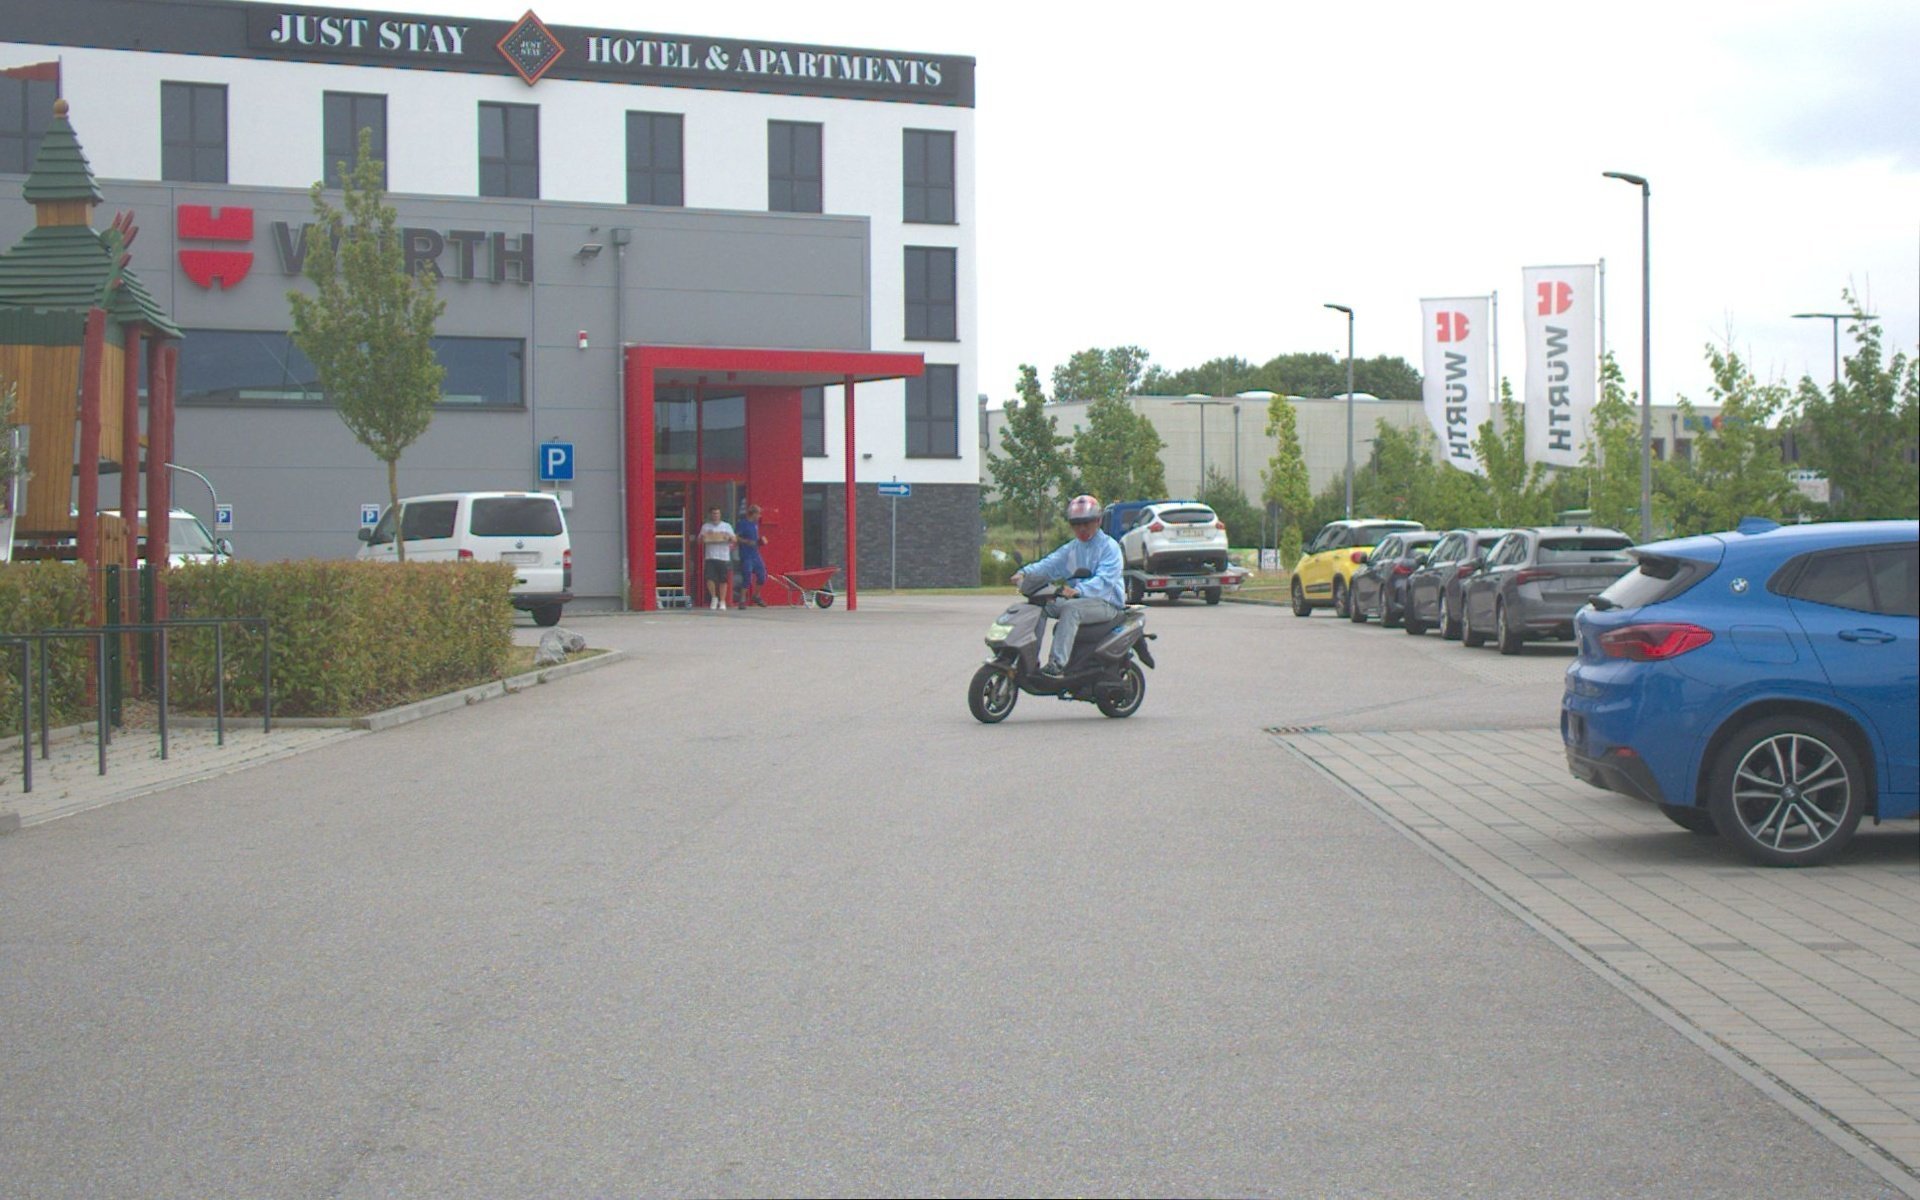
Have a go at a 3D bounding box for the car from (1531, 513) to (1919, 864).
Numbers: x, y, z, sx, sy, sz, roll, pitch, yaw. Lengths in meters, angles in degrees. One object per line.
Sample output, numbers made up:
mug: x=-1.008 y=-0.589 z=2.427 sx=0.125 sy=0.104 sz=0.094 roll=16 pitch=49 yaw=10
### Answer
car: x=4.908 y=0.372 z=16.020 sx=4.202 sy=1.539 sz=1.865 roll=0 pitch=1 yaw=1

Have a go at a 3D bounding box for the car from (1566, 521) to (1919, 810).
car: x=5.455 y=0.309 z=18.676 sx=4.062 sy=1.454 sz=1.776 roll=-1 pitch=2 yaw=3

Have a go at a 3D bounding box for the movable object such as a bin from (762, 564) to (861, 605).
movable object such as a bin: x=-2.607 y=-0.276 z=60.209 sx=1.488 sy=0.701 sz=0.965 roll=0 pitch=0 yaw=-23

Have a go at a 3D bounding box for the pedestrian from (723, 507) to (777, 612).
pedestrian: x=-3.622 y=-0.705 z=59.380 sx=0.676 sy=1.796 sz=0.880 roll=0 pitch=1 yaw=-22

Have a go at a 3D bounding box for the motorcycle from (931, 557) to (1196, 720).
motorcycle: x=0.800 y=0.284 z=26.357 sx=1.915 sy=1.204 sz=0.795 roll=0 pitch=0 yaw=-33

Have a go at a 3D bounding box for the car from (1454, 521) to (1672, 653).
car: x=7.056 y=-0.189 z=40.637 sx=1.751 sy=1.464 sz=4.476 roll=0 pitch=1 yaw=0

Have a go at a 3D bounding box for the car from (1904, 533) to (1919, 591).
car: x=24.071 y=-0.898 z=81.729 sx=1.762 sy=1.390 sz=4.559 roll=0 pitch=1 yaw=-3

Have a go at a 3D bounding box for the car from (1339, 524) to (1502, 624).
car: x=7.023 y=-0.422 z=52.781 sx=1.751 sy=1.464 sz=4.108 roll=0 pitch=1 yaw=-3

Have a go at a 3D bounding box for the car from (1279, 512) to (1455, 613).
car: x=6.972 y=-0.645 z=59.288 sx=1.856 sy=1.644 sz=4.001 roll=1 pitch=0 yaw=-11

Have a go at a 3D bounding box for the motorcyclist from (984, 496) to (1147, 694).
motorcyclist: x=0.809 y=-0.042 z=26.351 sx=0.938 sy=1.484 sz=0.830 roll=0 pitch=0 yaw=-33

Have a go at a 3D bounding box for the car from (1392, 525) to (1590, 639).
car: x=7.103 y=-0.274 z=46.396 sx=1.751 sy=1.464 sz=4.477 roll=0 pitch=1 yaw=-3

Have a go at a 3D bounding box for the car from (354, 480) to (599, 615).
car: x=-7.285 y=-0.777 z=51.520 sx=2.055 sy=1.849 sz=4.061 roll=-4 pitch=2 yaw=-32

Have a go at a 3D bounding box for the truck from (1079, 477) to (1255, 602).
truck: x=4.464 y=-1.259 z=75.728 sx=2.331 sy=2.398 sz=7.897 roll=1 pitch=-2 yaw=-8

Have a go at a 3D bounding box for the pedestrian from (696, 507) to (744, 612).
pedestrian: x=-4.010 y=-0.681 z=57.427 sx=0.623 sy=1.745 sz=0.906 roll=-1 pitch=1 yaw=-15

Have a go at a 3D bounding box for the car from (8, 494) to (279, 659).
car: x=-9.048 y=-0.267 z=37.824 sx=1.993 sy=1.645 sz=4.579 roll=-2 pitch=1 yaw=-25
